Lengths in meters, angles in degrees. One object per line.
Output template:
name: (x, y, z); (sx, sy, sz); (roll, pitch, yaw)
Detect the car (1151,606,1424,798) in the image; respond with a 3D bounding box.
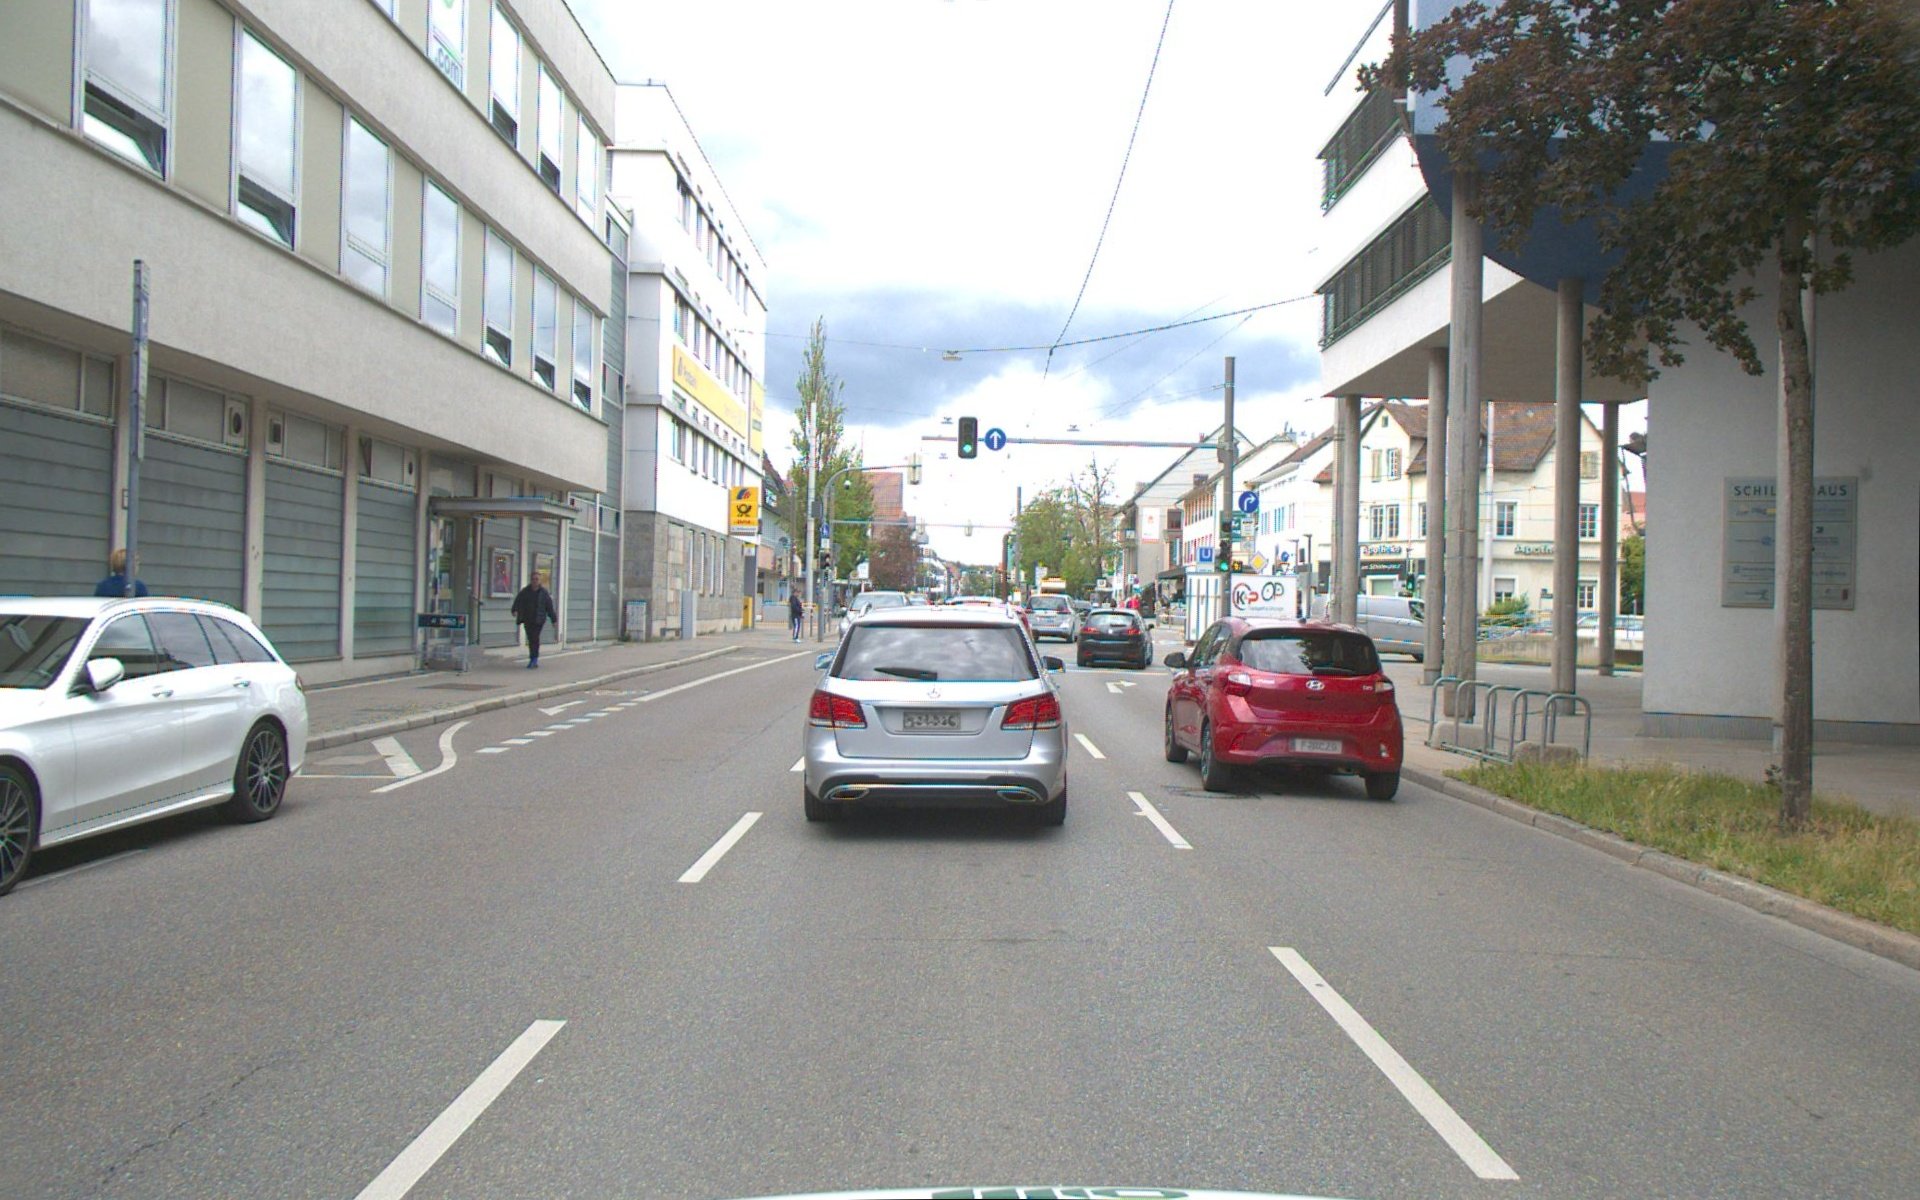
car: (2.935, 0.851, 15.643); (1.664, 1.477, 3.999); (3, 0, -1)

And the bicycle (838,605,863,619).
bicycle: (-8.700, 0.964, 130.956); (1.902, 1.047, 0.529); (2, -1, -10)

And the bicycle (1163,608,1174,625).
bicycle: (13.806, 1.097, 109.549); (0.438, 1.127, 2.149); (1, 0, 1)

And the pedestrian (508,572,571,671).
pedestrian: (-7.723, 0.386, 30.397); (0.844, 1.748, 1.031); (2, 0, -2)

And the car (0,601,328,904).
car: (-5.422, 0.751, 9.578); (1.635, 1.459, 4.554); (-1, 0, 2)

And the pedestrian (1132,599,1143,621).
pedestrian: (12.508, 0.704, 116.528); (0.567, 1.495, 0.649); (2, -1, -11)

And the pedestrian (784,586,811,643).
pedestrian: (-5.089, 0.441, 51.797); (0.634, 1.748, 0.783); (2, 0, 7)

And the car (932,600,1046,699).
car: (0.427, 0.781, 28.159); (1.699, 1.534, 3.998); (1, 0, -2)

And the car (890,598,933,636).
car: (-1.967, 0.689, 68.350); (1.623, 1.492, 3.920); (0, 0, 1)

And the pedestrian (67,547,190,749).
pedestrian: (-7.474, 0.415, 14.906); (0.577, 1.748, 1.055); (1, 0, -2)

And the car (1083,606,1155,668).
car: (4.062, 0.893, 41.867); (1.697, 1.435, 4.003); (1, 0, 7)

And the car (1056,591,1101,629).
car: (5.849, 0.499, 82.000); (1.791, 1.816, 3.999); (1, 0, -2)

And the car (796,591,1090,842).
car: (-0.165, 0.725, 12.353); (1.808, 1.534, 4.169); (1, 0, -2)

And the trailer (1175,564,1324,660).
trailer: (8.833, 0.373, 50.319); (4.271, 2.658, 1.862); (4, 0, -34)

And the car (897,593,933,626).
car: (-2.404, 0.506, 89.572); (1.762, 1.724, 3.897); (0, 0, 1)

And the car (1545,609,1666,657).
car: (28.927, 1.454, 74.241); (1.970, 1.952, 4.717); (3, -1, -39)

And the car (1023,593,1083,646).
car: (3.319, 0.684, 58.643); (1.697, 1.790, 4.003); (1, 0, 9)

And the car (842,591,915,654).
car: (-2.222, 0.595, 46.278); (1.739, 1.660, 4.768); (0, 0, 1)

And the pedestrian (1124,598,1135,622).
pedestrian: (12.252, 0.728, 119.735); (0.568, 1.695, 0.648); (2, -1, -17)

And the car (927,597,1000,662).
car: (0.044, 0.715, 41.970); (1.699, 1.534, 3.998); (1, 0, -2)

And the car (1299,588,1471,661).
car: (13.253, 0.759, 51.722); (4.800, 1.979, 1.880); (3, 0, -9)
